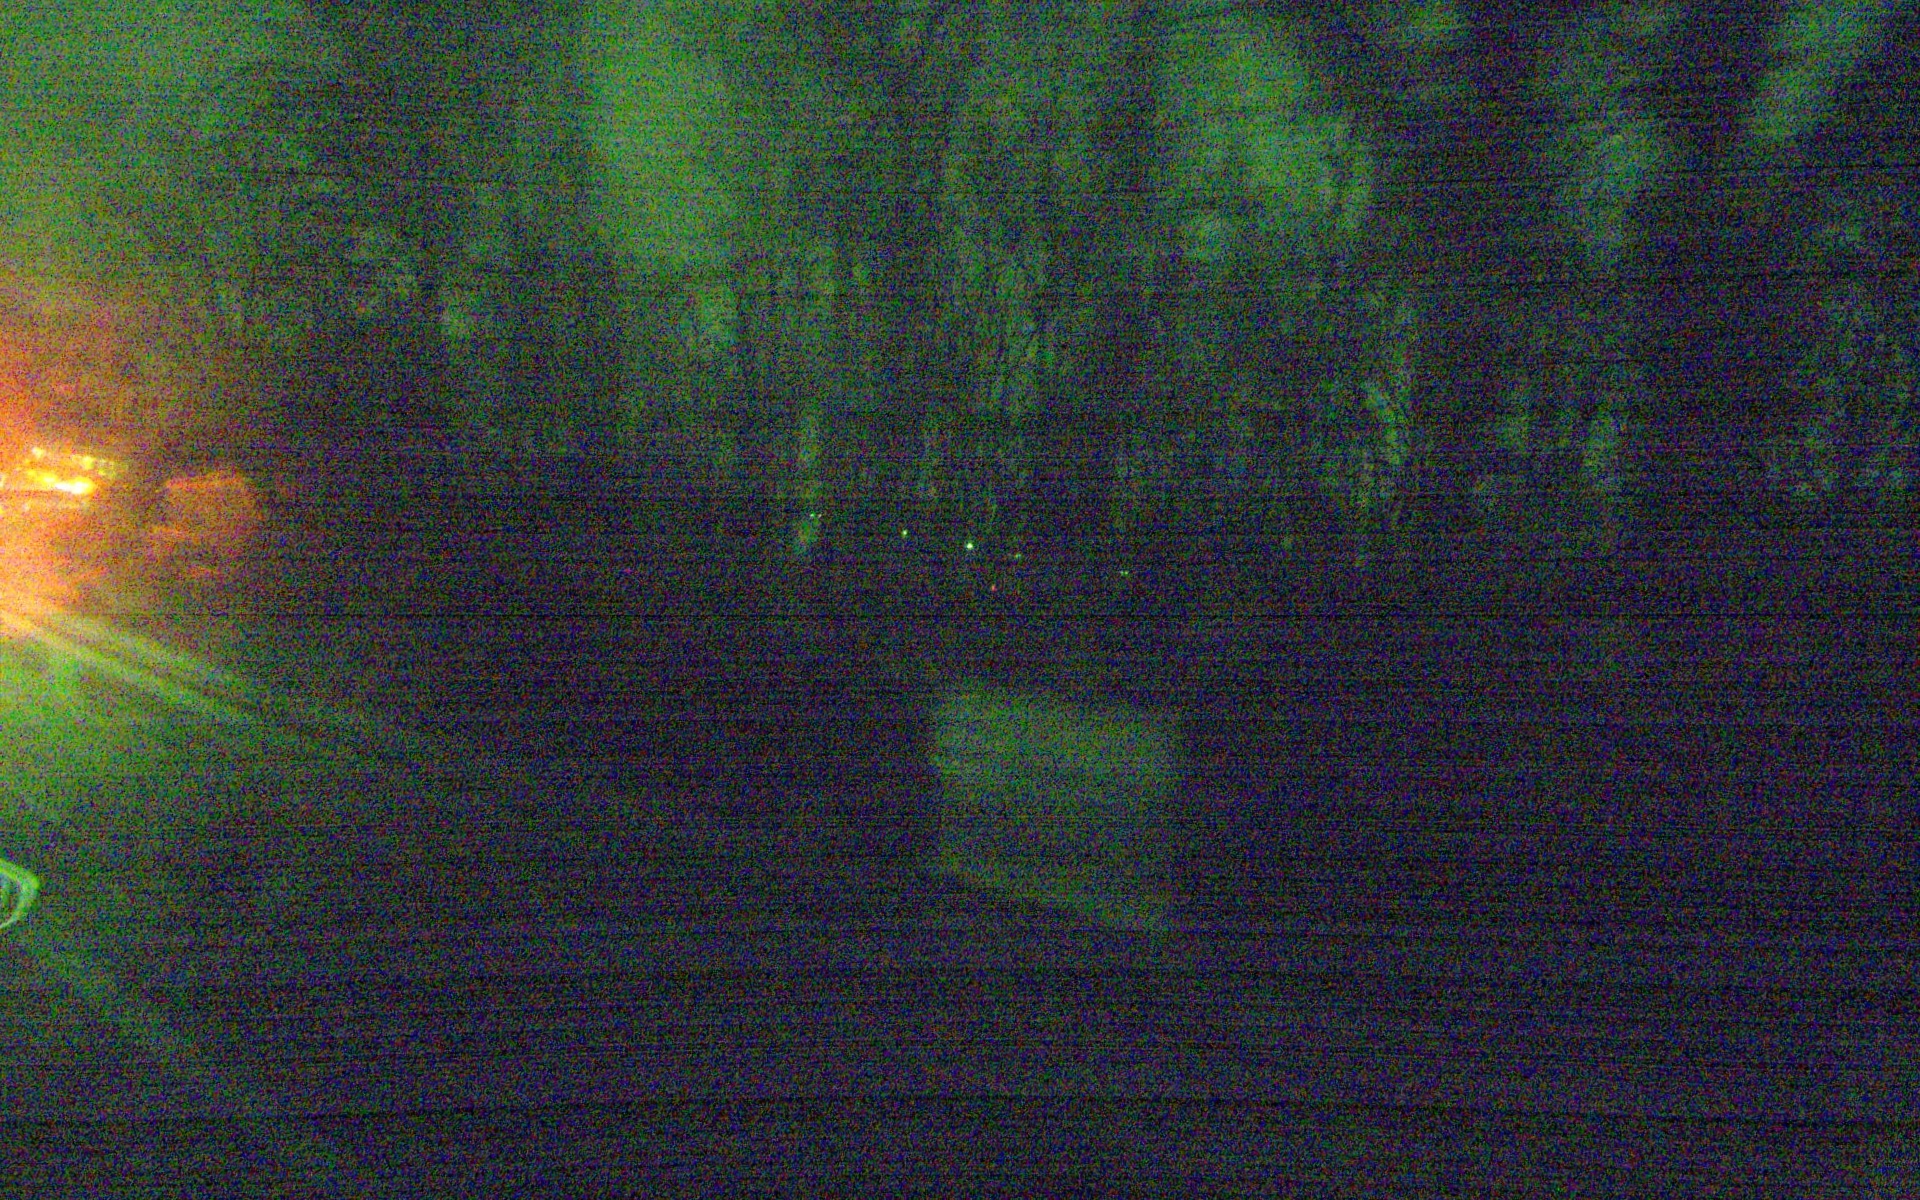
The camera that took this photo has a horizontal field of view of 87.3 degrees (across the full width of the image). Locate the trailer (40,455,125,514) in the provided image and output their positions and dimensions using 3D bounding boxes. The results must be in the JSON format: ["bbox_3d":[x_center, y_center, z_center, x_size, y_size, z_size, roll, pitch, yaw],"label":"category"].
[{"bbox_3d":[-42.151,-5.418,48.547,2.064,2.039,10.546,4,0,-36],"label":"trailer"}]
